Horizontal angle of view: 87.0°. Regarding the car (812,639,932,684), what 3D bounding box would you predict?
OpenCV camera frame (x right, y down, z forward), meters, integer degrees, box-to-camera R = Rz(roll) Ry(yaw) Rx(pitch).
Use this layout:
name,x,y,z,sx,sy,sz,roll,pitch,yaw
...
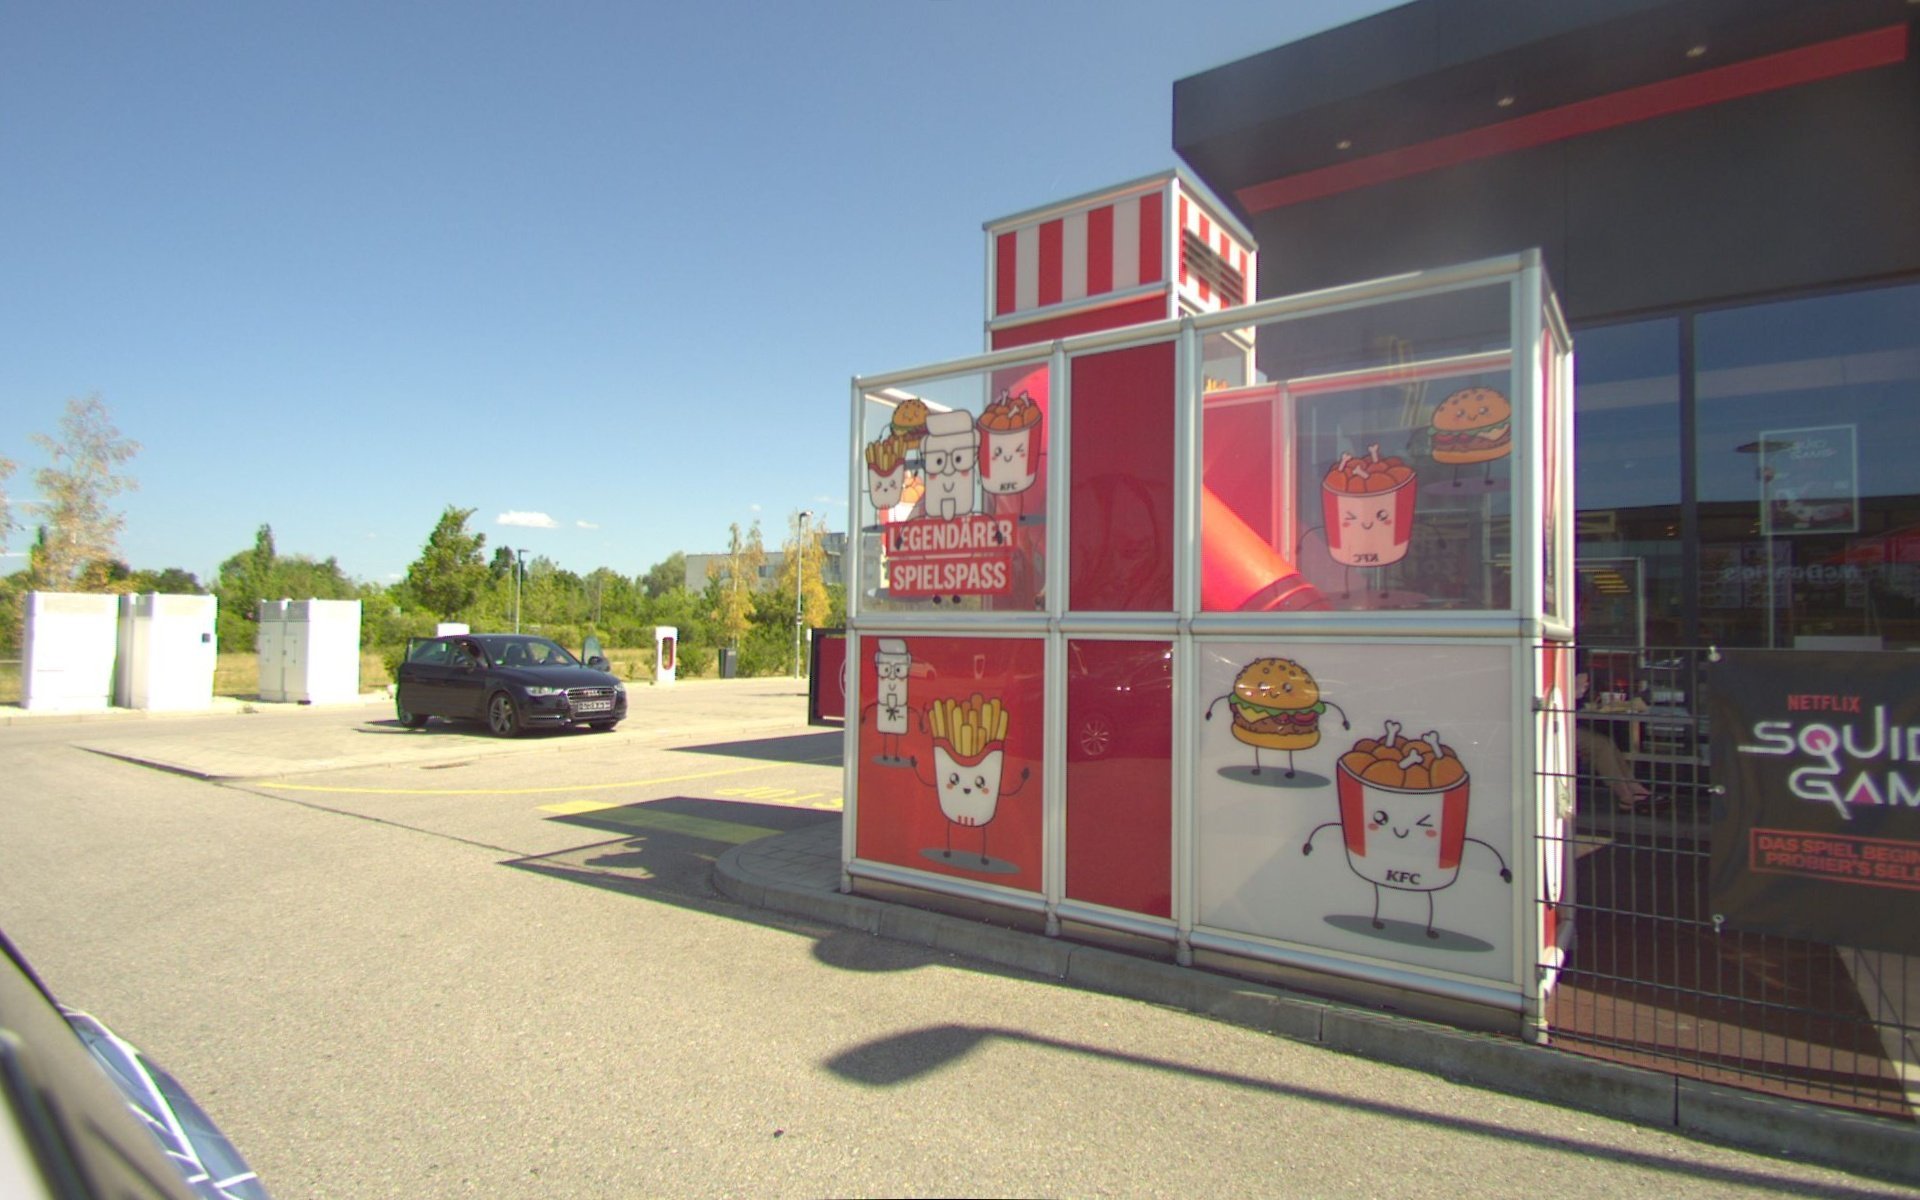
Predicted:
name,x,y,z,sx,sy,sz,roll,pitch,yaw
car,-3.295,2.312,38.543,2.214,1.538,4.378,0,-2,37

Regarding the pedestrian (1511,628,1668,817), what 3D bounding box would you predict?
name,x,y,z,sx,sy,sz,roll,pitch,yaw
pedestrian,4.786,0.878,7.694,0.943,1.322,0.746,-1,-2,37

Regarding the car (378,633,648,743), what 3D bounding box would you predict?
name,x,y,z,sx,sy,sz,roll,pitch,yaw
car,-6.723,1.206,15.071,4.305,1.422,1.709,-1,-3,35

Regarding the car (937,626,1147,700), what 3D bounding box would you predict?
name,x,y,z,sx,sy,sz,roll,pitch,yaw
car,1.878,1.440,23.749,4.538,1.581,1.977,-2,-3,34
